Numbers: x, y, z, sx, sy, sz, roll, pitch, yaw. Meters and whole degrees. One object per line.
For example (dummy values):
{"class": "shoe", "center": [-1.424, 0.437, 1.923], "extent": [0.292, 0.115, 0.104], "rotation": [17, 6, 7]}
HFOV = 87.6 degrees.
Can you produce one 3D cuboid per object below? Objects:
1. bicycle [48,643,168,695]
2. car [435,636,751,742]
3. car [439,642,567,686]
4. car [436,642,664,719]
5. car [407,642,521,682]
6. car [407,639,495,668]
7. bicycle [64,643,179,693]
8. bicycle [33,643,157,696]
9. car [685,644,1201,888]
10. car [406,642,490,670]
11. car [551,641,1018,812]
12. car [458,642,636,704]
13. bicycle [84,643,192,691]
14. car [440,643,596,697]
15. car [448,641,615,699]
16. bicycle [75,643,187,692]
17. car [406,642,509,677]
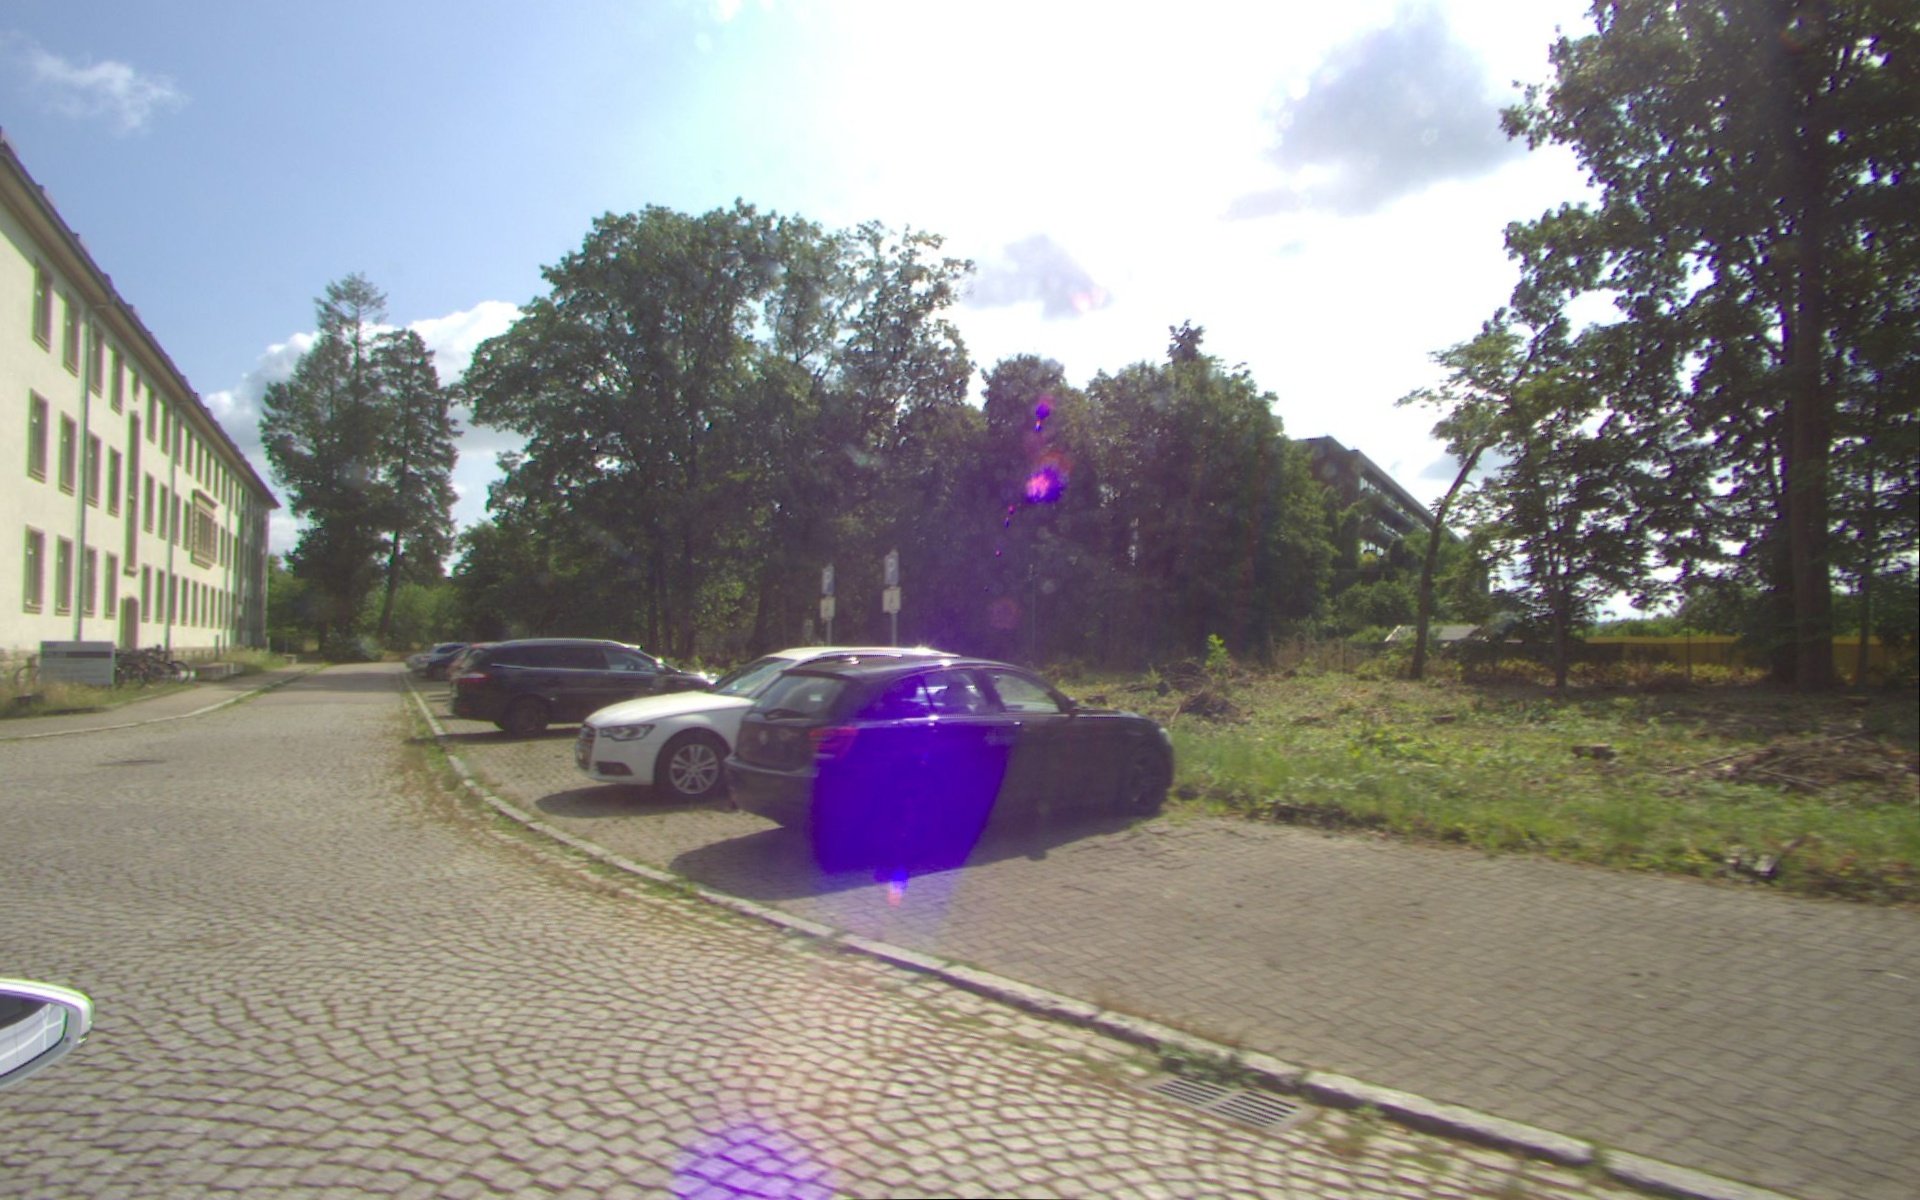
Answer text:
{"class": "bicycle", "center": [-21.597, 1.756, 25.448], "extent": [2.197, 1.276, 0.620], "rotation": [2, -2, -29]}
{"class": "car", "center": [-6.179, 1.415, 17.089], "extent": [4.803, 1.572, 1.870], "rotation": [1, -3, -32]}
{"class": "car", "center": [-16.892, 2.329, 37.046], "extent": [4.218, 1.502, 1.812], "rotation": [1, -3, -29]}
{"class": "car", "center": [-8.834, 1.678, 21.678], "extent": [4.353, 1.502, 1.756], "rotation": [1, -3, -32]}
{"class": "car", "center": [-20.384, 2.509, 41.210], "extent": [4.140, 1.562, 1.812], "rotation": [1, -3, -29]}
{"class": "car", "center": [-27.182, 2.842, 53.485], "extent": [4.140, 1.502, 1.812], "rotation": [1, -3, -29]}
{"class": "bicycle", "center": [-21.983, 1.779, 26.305], "extent": [2.194, 1.276, 0.621], "rotation": [2, -2, -25]}
{"class": "bicycle", "center": [-21.287, 1.708, 24.704], "extent": [2.194, 1.276, 0.621], "rotation": [2, -2, -25]}
{"class": "car", "center": [0.032, 1.177, 8.634], "extent": [4.291, 1.519, 1.815], "rotation": [1, -1, -40]}
{"class": "car", "center": [-28.571, 3.106, 55.912], "extent": [4.140, 1.502, 1.812], "rotation": [1, -3, -29]}
{"class": "car", "center": [-1.842, 1.237, 11.182], "extent": [4.812, 1.491, 1.863], "rotation": [1, -1, -32]}
{"class": "car", "center": [-10.793, 1.861, 26.236], "extent": [4.160, 1.502, 1.812], "rotation": [1, -3, -29]}
{"class": "bicycle", "center": [-22.851, 1.862, 27.883], "extent": [2.197, 1.276, 0.620], "rotation": [2, -2, -29]}
{"class": "car", "center": [-13.279, 2.057, 30.125], "extent": [4.140, 1.502, 1.812], "rotation": [1, -3, -29]}
{"class": "car", "center": [-11.904, 1.910, 27.898], "extent": [4.140, 1.502, 1.752], "rotation": [1, -3, -29]}
{"class": "bicycle", "center": [-22.329, 1.826, 27.026], "extent": [2.197, 1.276, 0.620], "rotation": [2, -2, -29]}
{"class": "car", "center": [-22.968, 2.696, 45.843], "extent": [4.140, 1.502, 1.812], "rotation": [1, -3, -29]}
